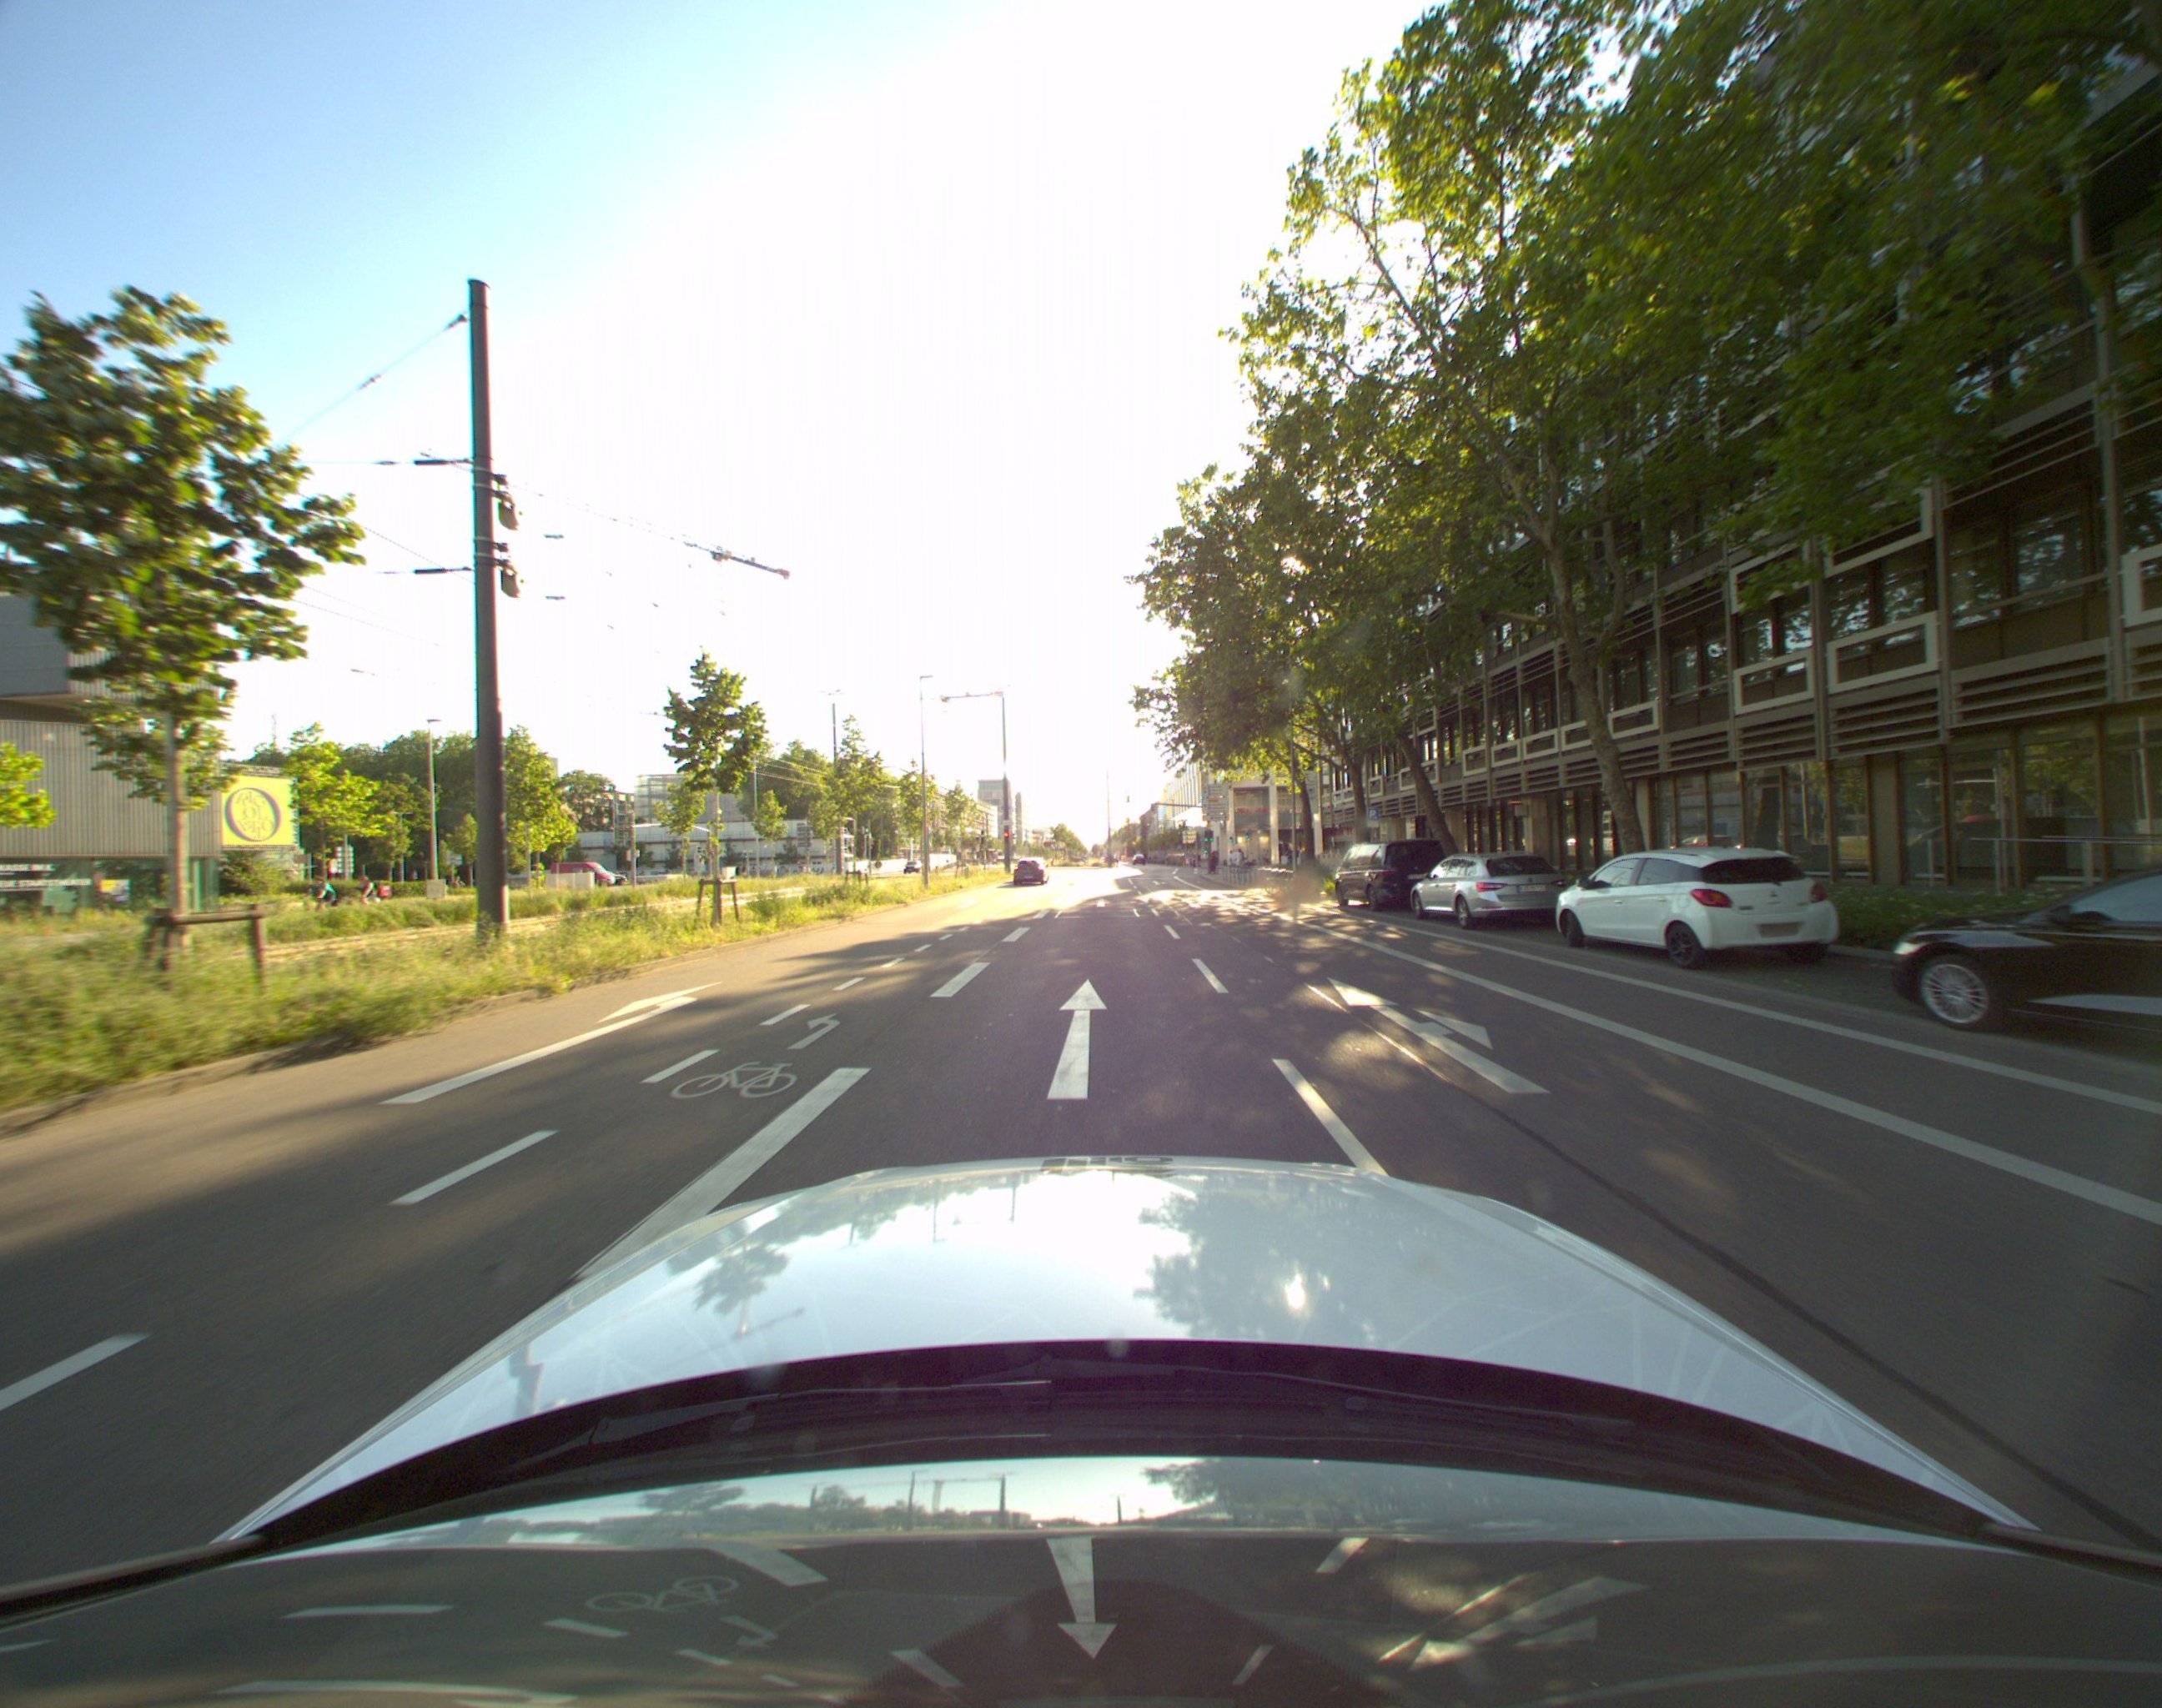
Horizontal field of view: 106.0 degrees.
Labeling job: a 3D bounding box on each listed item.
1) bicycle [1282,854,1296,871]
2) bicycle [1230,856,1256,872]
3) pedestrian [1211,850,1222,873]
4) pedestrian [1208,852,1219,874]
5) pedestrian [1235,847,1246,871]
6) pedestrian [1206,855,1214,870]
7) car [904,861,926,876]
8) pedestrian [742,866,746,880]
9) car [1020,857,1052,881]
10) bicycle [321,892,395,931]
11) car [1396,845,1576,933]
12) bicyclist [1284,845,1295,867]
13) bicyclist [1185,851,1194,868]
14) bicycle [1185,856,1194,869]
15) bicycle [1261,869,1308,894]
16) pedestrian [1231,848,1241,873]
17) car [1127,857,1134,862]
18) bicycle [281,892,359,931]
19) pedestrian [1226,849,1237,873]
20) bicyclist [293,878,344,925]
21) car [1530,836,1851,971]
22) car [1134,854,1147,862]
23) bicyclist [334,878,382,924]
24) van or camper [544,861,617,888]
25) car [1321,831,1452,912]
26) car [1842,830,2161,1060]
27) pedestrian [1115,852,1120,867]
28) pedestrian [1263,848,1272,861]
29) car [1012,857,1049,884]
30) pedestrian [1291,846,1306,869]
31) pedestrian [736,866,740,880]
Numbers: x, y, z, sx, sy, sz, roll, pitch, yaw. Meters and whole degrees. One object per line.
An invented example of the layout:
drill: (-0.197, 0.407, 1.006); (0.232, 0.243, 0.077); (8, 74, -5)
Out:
bicycle: (15.158, 0.595, 59.384); (0.589, 1.232, 2.155); (-1, 0, 3)
bicycle: (11.914, 0.712, 59.915); (1.796, 1.086, 0.479); (-3, 0, 2)
pedestrian: (10.126, 0.573, 60.997); (0.631, 1.703, 0.570); (-3, 0, 2)
pedestrian: (9.818, 0.645, 60.463); (0.631, 1.608, 0.570); (-3, 0, 2)
pedestrian: (11.507, 0.375, 58.833); (0.631, 1.703, 0.570); (-3, 0, 2)
pedestrian: (15.549, 1.014, 98.205); (0.813, 1.734, 0.791); (-2, 0, 5)
car: (-22.375, 1.925, 109.616); (1.986, 1.776, 4.001); (-2, 0, 1)
pedestrian: (-36.429, 2.052, 88.053); (0.272, 1.465, 0.316); (-1, 0, 2)
car: (-2.799, 0.916, 51.367); (1.697, 1.428, 3.926); (-1, 0, 1)
bicycle: (-23.742, 1.865, 26.783); (0.581, 1.105, 1.989); (-1, 0, 2)
car: (8.338, 0.630, 17.355); (1.673, 1.514, 5.067); (-4, 0, 6)
bicyclist: (15.131, 0.147, 59.106); (0.576, 1.522, 0.750); (-1, 0, 2)
bicyclist: (10.899, 0.558, 81.827); (0.796, 1.602, 0.786); (-1, 0, 6)
bicycle: (10.911, 0.838, 81.841); (0.796, 1.204, 2.267); (-1, 0, 5)
bicycle: (7.852, 1.053, 31.519); (1.682, 0.867, 0.574); (-3, 0, 9)
pedestrian: (13.425, 0.569, 70.522); (0.762, 2.060, 0.799); (-3, 0, 8)
car: (13.816, 1.466, 226.923); (1.698, 1.428, 3.925); (-2, 0, 0)
bicycle: (-24.613, 1.844, 26.378); (0.581, 1.105, 1.989); (-1, 0, 2)
pedestrian: (13.221, 0.591, 71.498); (0.762, 2.060, 0.799); (-3, 0, 8)
bicyclist: (-24.623, 1.523, 26.312); (0.581, 1.442, 1.076); (-1, 0, 2)
car: (8.242, 0.581, 11.525); (1.675, 1.478, 3.876); (-4, 0, 2)
car: (10.178, 0.676, 138.921); (1.934, 1.428, 3.925); (-2, 0, 0)
bicyclist: (-23.744, 1.522, 26.754); (0.581, 1.442, 1.076); (-1, 0, 2)
van or camper: (-47.691, 1.927, 77.716); (5.637, 2.414, 2.156); (-2, 0, 3)
car: (8.617, 0.444, 23.550); (1.822, 1.971, 5.324); (-4, 0, 2)
car: (7.831, 0.574, 5.348); (1.700, 1.418, 4.278); (-4, 0, 2)
pedestrian: (4.404, 0.626, 97.593); (0.492, 1.743, 0.446); (-2, 0, -9)
pedestrian: (23.014, 0.095, 100.484); (0.866, 1.585, 0.825); (-3, 0, 5)
car: (-2.775, 0.895, 45.619); (1.771, 1.428, 3.999); (-1, 0, 0)
pedestrian: (16.923, 0.266, 63.448); (0.905, 1.703, 1.114); (-2, 0, 2)
pedestrian: (-36.979, 2.045, 87.844); (0.272, 1.465, 0.279); (-1, 0, 2)
